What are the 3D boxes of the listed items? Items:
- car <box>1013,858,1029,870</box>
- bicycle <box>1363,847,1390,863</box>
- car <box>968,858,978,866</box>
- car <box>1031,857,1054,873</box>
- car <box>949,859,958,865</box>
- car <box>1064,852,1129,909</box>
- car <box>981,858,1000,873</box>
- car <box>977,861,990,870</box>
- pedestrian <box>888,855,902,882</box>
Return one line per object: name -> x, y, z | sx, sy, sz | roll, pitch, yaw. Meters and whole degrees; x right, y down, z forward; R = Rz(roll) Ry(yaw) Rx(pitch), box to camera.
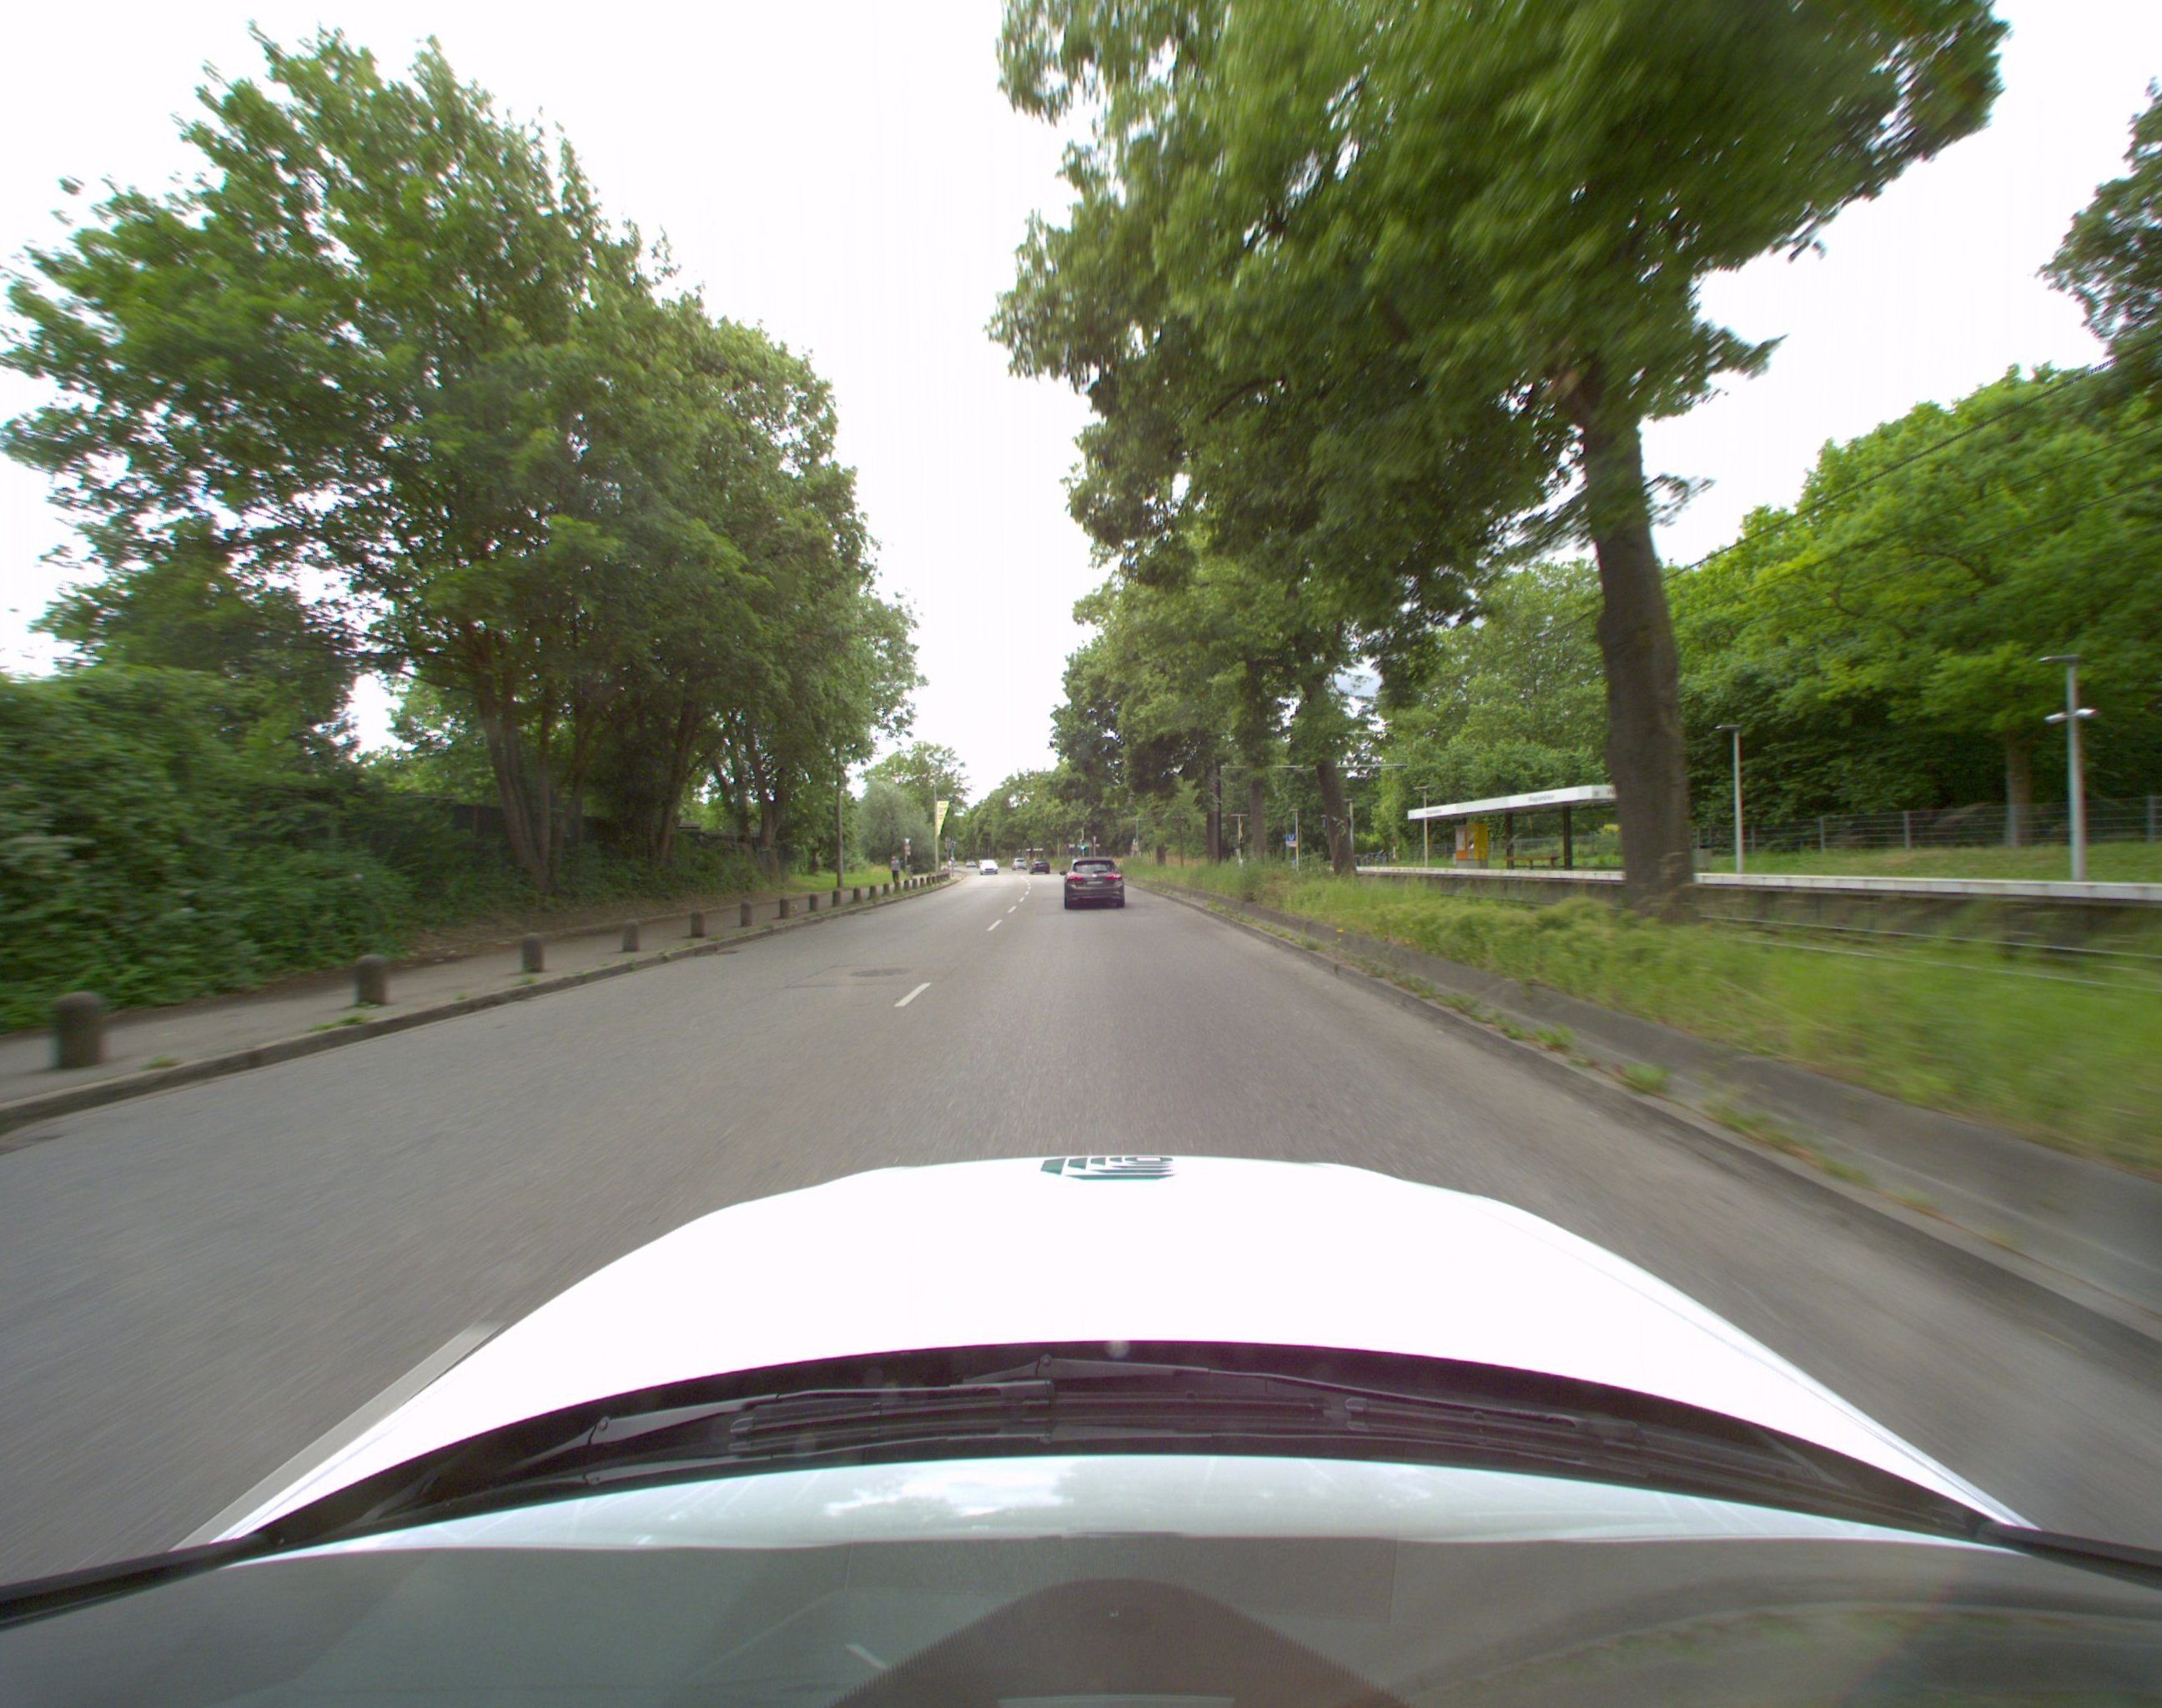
car -> -7.729, 1.320, 104.681 | 1.774, 1.472, 3.990 | 1, 0, -7
bicycle -> 18.568, 0.054, 51.187 | 1.506, 0.973, 0.449 | 1, -1, -6
car -> -21.098, 1.614, 158.610 | 1.776, 1.472, 3.987 | 0, 0, -9
car -> -3.637, 1.071, 77.543 | 1.769, 1.472, 4.001 | 1, 0, 2
car -> -28.138, 1.753, 179.434 | 1.778, 1.472, 3.982 | 1, 0, -13
car -> 0.503, 0.757, 25.289 | 1.809, 1.508, 4.002 | -2, 1, 1
car -> -9.558, 1.184, 85.998 | 1.770, 1.439, 4.354 | -2, 0, -4
car -> -17.057, 2.020, 142.143 | 1.777, 1.472, 3.983 | 1, -1, -12
pedestrian -> -11.698, 0.897, 51.173 | 0.688, 1.634, 0.837 | 1, -1, -3
